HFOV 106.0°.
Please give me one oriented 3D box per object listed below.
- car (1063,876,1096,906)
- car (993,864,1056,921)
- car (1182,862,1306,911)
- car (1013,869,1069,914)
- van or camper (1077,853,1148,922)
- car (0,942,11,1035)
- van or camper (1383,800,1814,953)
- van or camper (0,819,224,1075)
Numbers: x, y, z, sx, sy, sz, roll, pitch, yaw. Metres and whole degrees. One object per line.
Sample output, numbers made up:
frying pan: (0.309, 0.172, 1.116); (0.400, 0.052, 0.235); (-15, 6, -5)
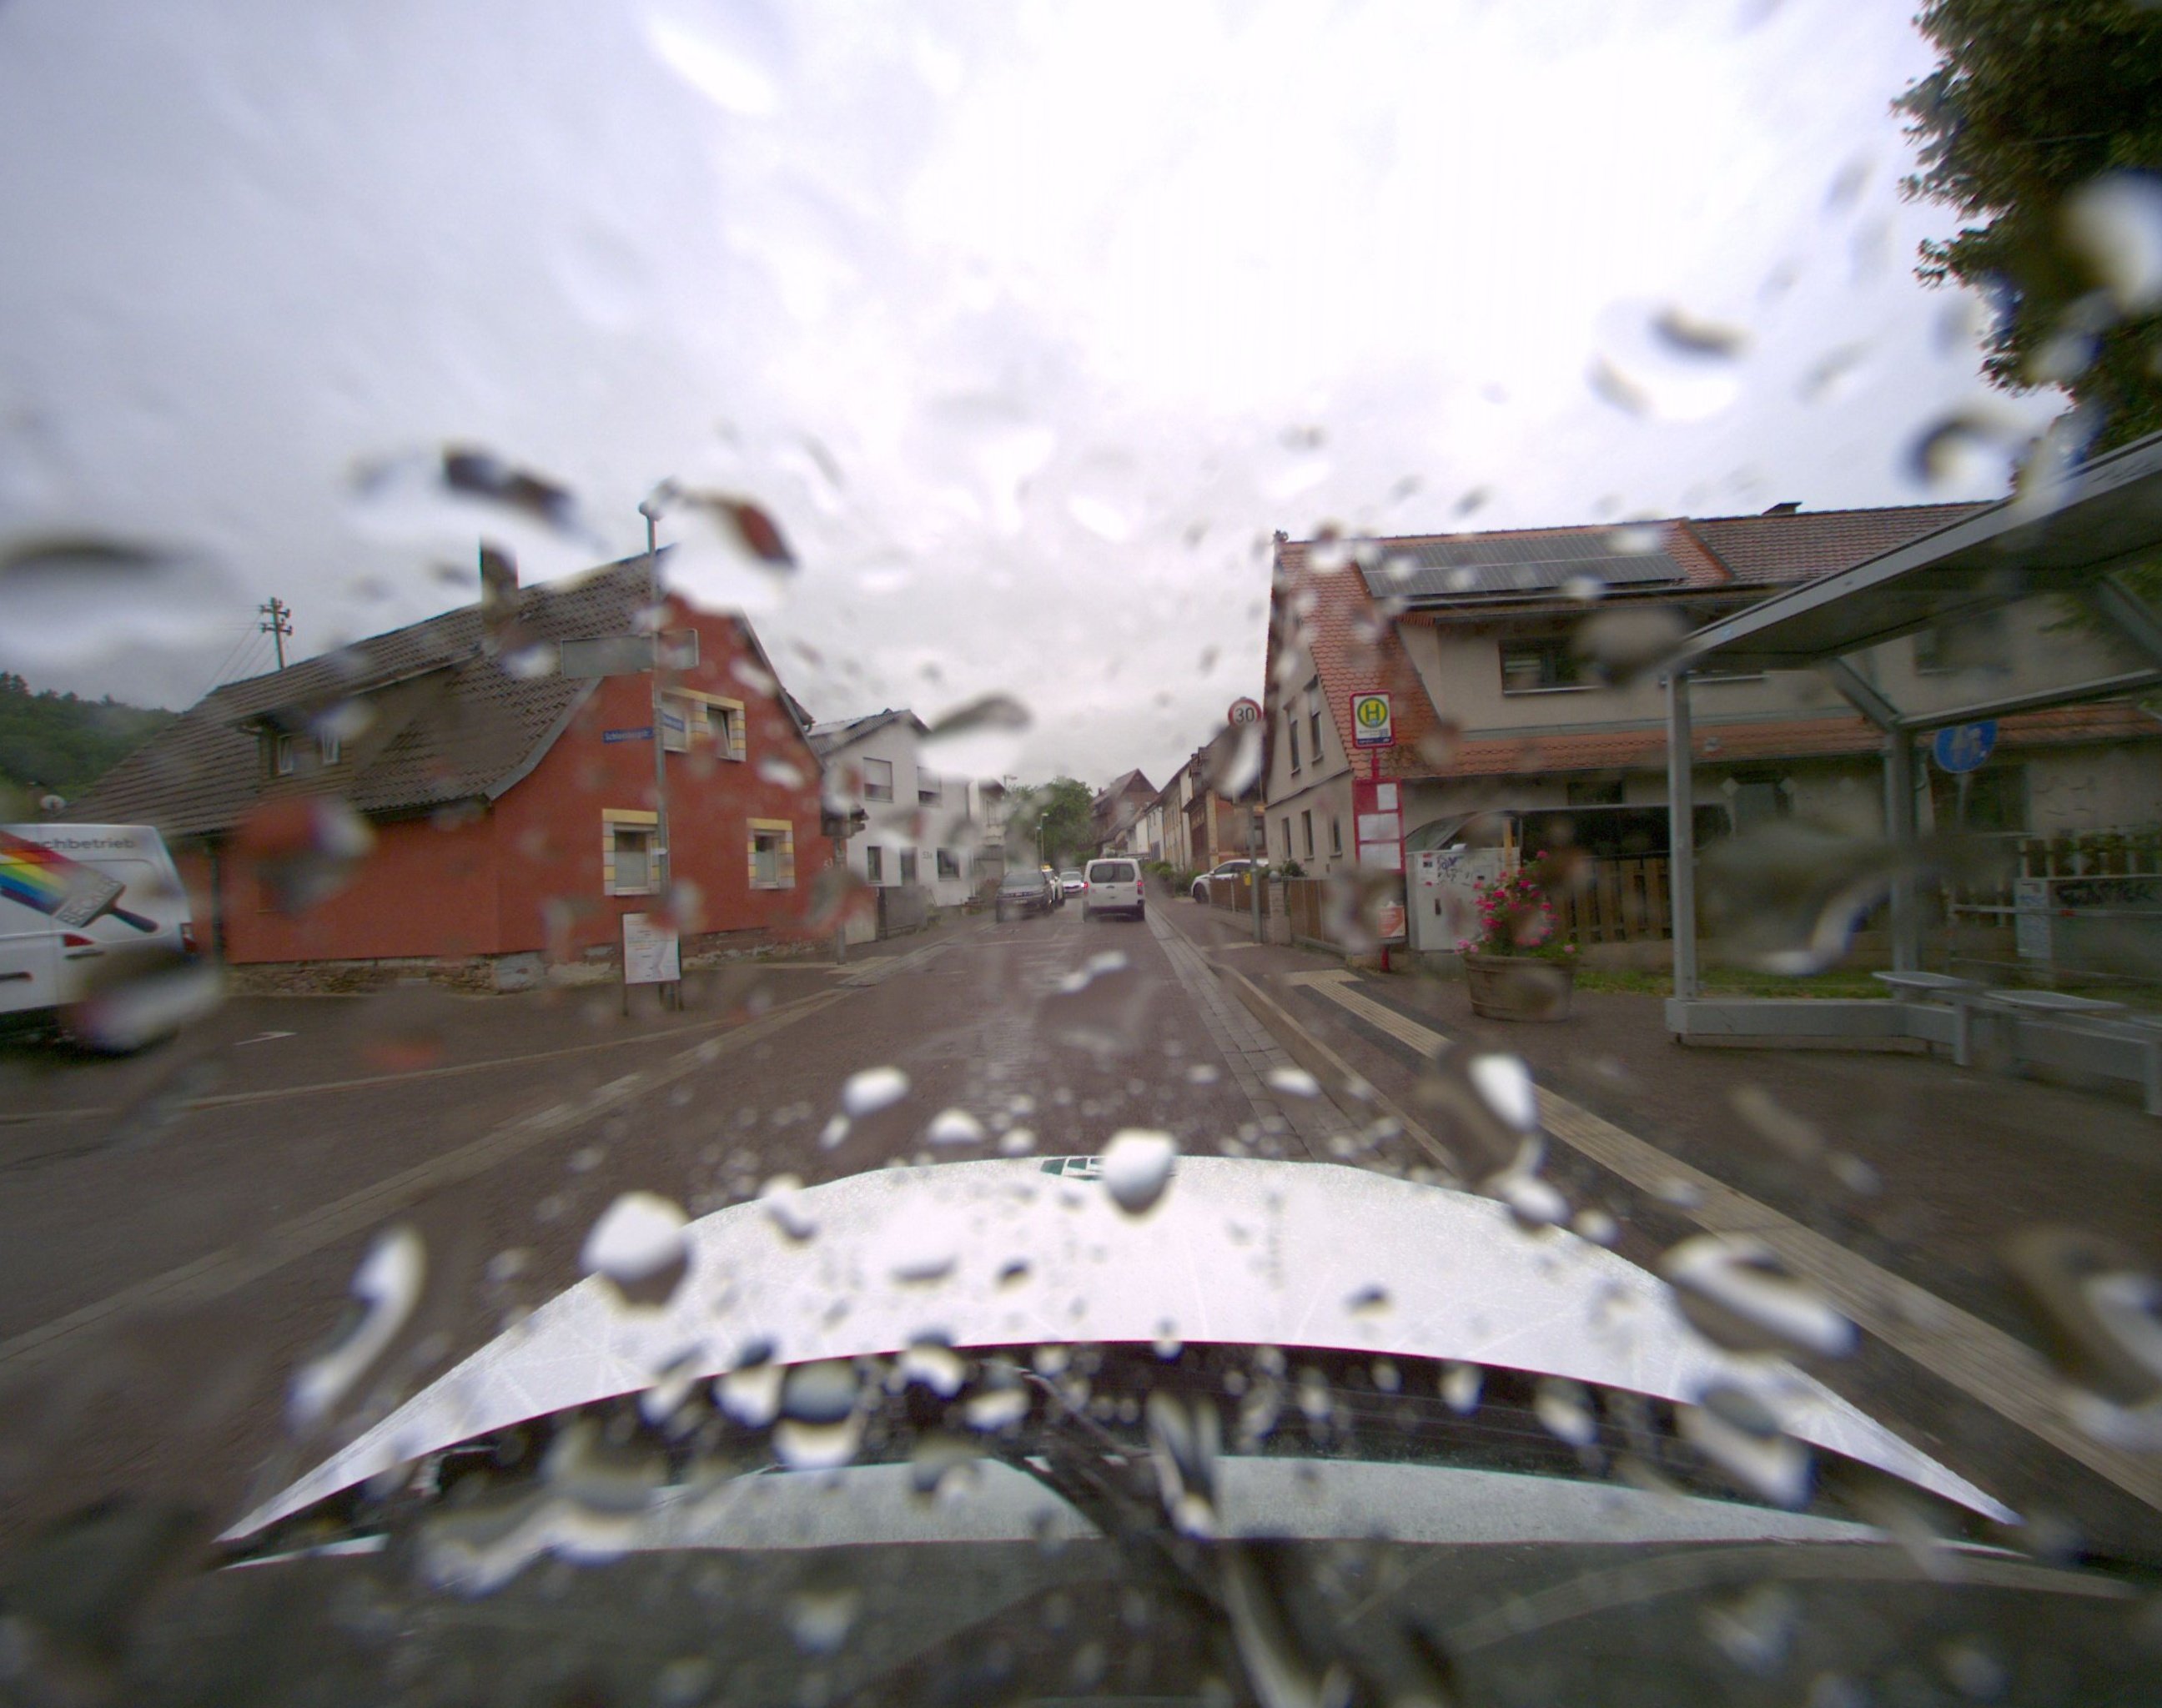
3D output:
car: (-0.150, 2.151, 47.538); (1.685, 1.565, 3.929); (-4, -3, -3)
car: (-1.921, 1.289, 28.836); (1.806, 1.779, 4.017); (-4, -1, 1)
car: (5.819, 1.119, 29.703); (1.883, 1.590, 4.575); (-1, 0, -30)
car: (-1.635, 1.599, 34.976); (1.741, 1.636, 4.422); (-6, -2, 4)
van or camper: (0.969, 0.954, 24.667); (1.936, 1.851, 4.002); (-1, -1, 2)
car: (-17.277, 2.030, 11.576); (3.952, 1.281, 1.848); (-4, -1, 28)
van or camper: (7.254, 0.312, 11.790); (5.054, 1.923, 1.875); (-1, -1, -1)
van or camper: (-12.382, 1.031, 9.283); (5.093, 2.435, 2.225); (-4, -1, 28)
